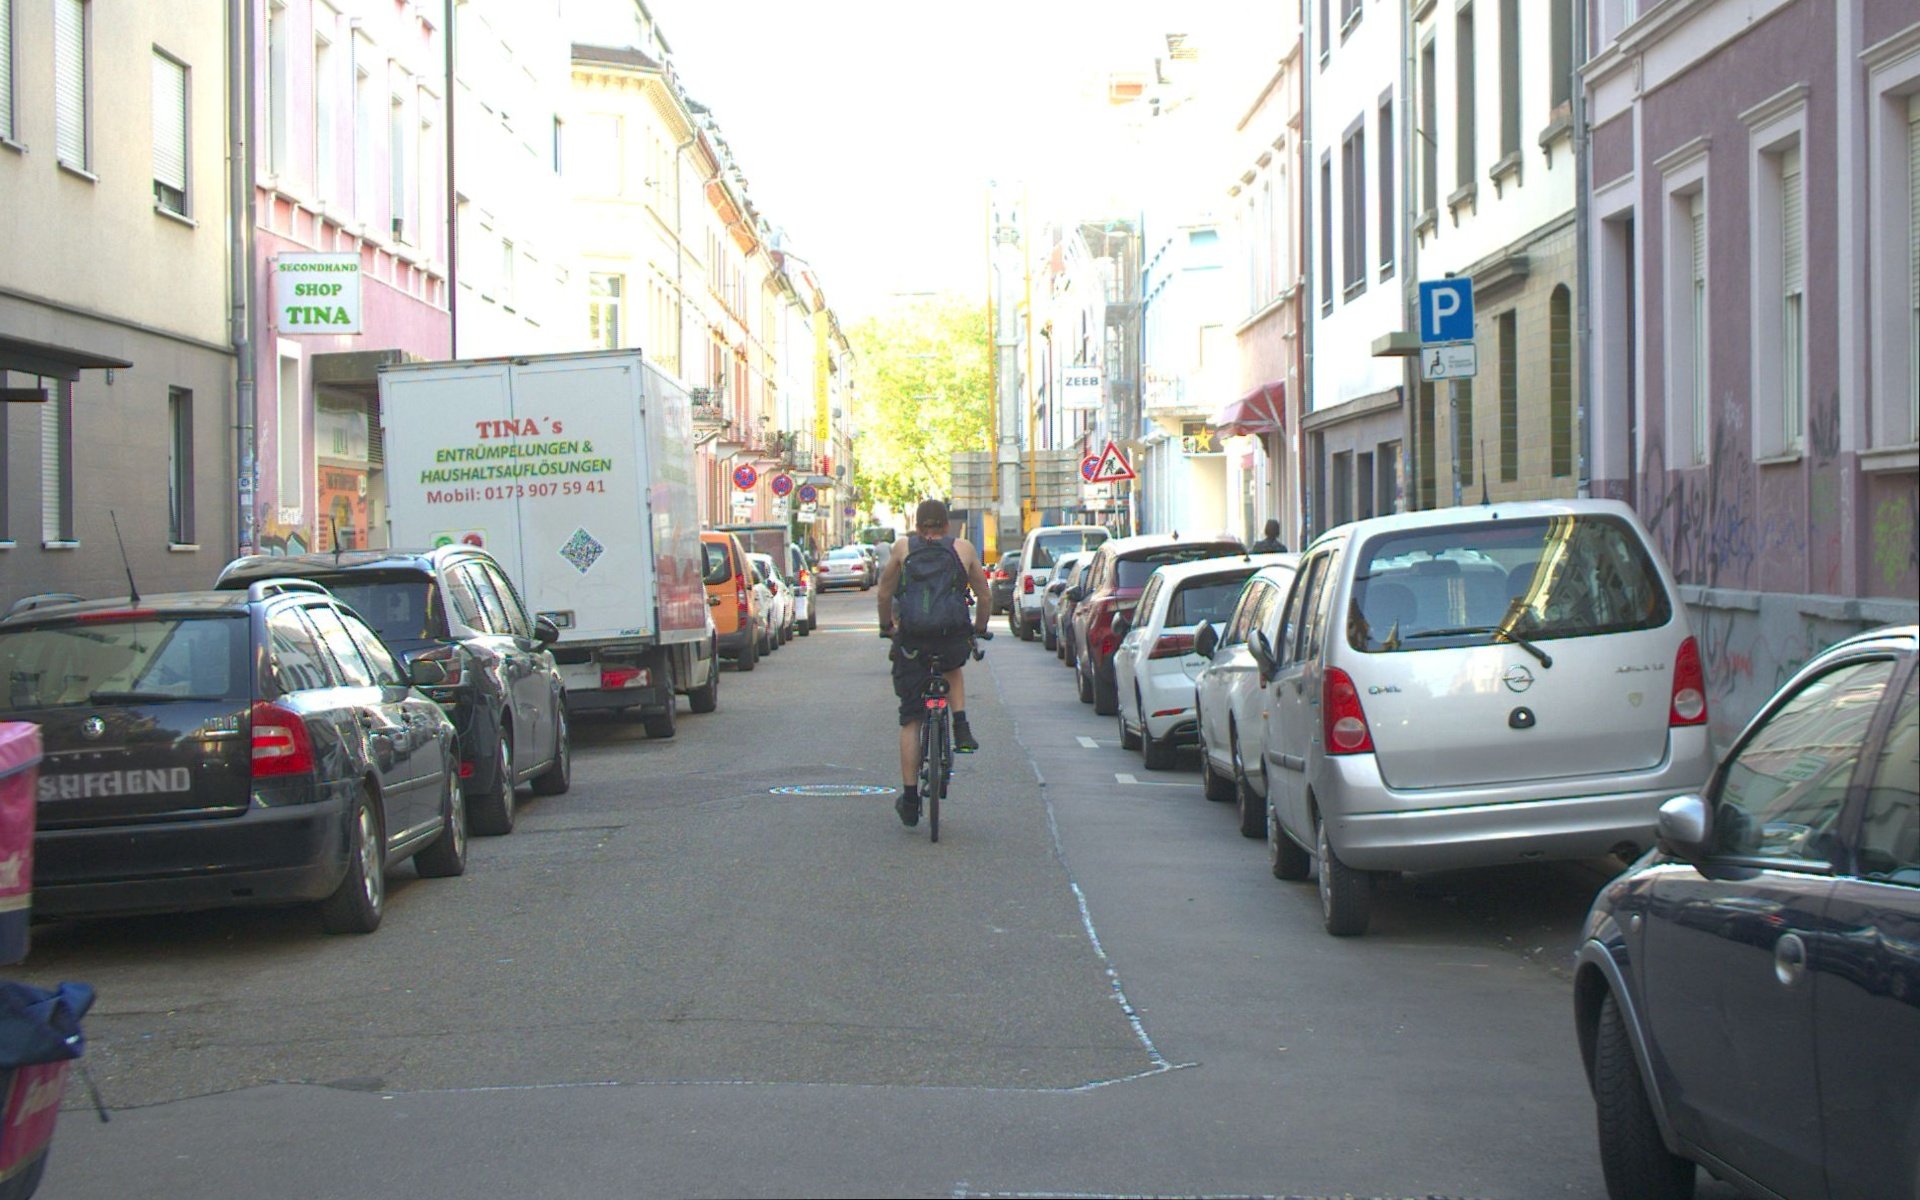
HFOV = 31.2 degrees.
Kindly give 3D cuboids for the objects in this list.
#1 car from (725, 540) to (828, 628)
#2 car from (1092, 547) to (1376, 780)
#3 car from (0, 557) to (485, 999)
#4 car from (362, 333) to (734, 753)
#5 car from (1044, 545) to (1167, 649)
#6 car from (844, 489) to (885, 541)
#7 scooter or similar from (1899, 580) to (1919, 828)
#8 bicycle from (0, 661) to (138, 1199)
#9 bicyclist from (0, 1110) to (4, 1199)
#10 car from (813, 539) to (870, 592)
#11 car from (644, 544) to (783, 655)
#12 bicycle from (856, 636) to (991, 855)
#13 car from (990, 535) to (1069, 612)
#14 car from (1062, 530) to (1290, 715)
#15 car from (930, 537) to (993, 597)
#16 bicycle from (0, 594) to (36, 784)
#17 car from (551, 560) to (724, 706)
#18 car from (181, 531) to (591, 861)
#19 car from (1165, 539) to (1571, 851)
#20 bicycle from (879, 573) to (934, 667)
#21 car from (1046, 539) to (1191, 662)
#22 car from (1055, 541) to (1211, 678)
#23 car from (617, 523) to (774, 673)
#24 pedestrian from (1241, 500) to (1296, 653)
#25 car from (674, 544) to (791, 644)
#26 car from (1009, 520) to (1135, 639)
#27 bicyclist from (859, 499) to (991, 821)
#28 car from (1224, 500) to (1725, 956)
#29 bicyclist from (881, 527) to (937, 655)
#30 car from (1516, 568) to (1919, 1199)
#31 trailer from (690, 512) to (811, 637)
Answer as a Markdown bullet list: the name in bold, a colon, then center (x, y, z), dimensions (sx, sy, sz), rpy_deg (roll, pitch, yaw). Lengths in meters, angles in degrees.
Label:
- **car**: center (-3.436, -0.311, 64.945), dimensions (1.750, 1.567, 3.796), rpy_deg (-1, 0, 0)
- **car**: center (1.966, 0.419, 25.697), dimensions (1.686, 1.538, 4.046), rpy_deg (-2, 0, -1)
- **car**: center (-3.227, 0.639, 14.845), dimensions (1.716, 1.473, 4.499), rpy_deg (-3, 2, -1)
- **car**: center (-3.547, -0.490, 31.221), dimensions (2.343, 3.280, 7.154), rpy_deg (-2, 0, 0)
- **car**: center (2.185, -0.058, 52.314), dimensions (1.750, 1.481, 3.799), rpy_deg (-1, 0, 1)
- **car**: center (-4.438, -3.955, 160.375), dimensions (1.750, 2.310, 3.796), rpy_deg (-1, 0, 0)
- **scooter or similar**: center (4.776, 0.488, 15.800), dimensions (0.450, 1.178, 1.369), rpy_deg (-4, 0, -1)
- **bicycle**: center (-2.235, 0.825, 6.018), dimensions (0.977, 1.310, 2.555), rpy_deg (-2, 1, -1)
- **bicyclist**: center (-2.232, 0.435, 5.747), dimensions (0.950, 1.622, 0.953), rpy_deg (-2, 1, 0)
- **car**: center (-3.915, -1.132, 113.884), dimensions (1.750, 1.678, 3.796), rpy_deg (-1, 0, 0)
- **car**: center (-3.612, -0.020, 50.953), dimensions (1.750, 1.532, 4.319), rpy_deg (-1, 0, 0)
- **bicycle**: center (-0.198, 0.749, 18.438), dimensions (0.677, 1.071, 1.942), rpy_deg (1, 0, -1)
- **car**: center (1.490, -0.578, 74.729), dimensions (1.611, 1.628, 3.610), rpy_deg (1, 0, 0)
- **car**: center (2.051, 0.168, 33.780), dimensions (1.918, 1.700, 4.366), rpy_deg (0, 1, -1)
- **car**: center (0.019, -0.876, 90.990), dimensions (1.611, 1.555, 3.610), rpy_deg (1, 0, 0)
- **bicycle**: center (-6.181, 0.567, 21.076), dimensions (0.490, 1.160, 1.773), rpy_deg (-2, 1, 1)
- **car**: center (-3.600, 0.340, 38.845), dimensions (1.578, 1.478, 3.565), rpy_deg (-3, 0, -1)
- **car**: center (-3.314, 0.473, 20.616), dimensions (1.716, 1.644, 4.246), rpy_deg (-3, 2, -1)
- **car**: center (2.244, 0.472, 20.039), dimensions (1.696, 1.538, 4.629), rpy_deg (-2, 0, -1)
- **bicycle**: center (-0.659, 0.229, 42.545), dimensions (0.648, 1.125, 2.136), rpy_deg (1, 0, -1)
- **car**: center (2.099, -0.013, 46.396), dimensions (1.646, 1.470, 3.971), rpy_deg (-4, 0, 0)
- **car**: center (2.063, 0.089, 41.865), dimensions (1.667, 1.500, 3.816), rpy_deg (-3, 0, 1)
- **car**: center (-3.448, -0.041, 45.435), dimensions (1.752, 1.810, 4.078), rpy_deg (-2, 0, -1)
- **pedestrian**: center (4.104, -0.314, 45.795), dimensions (0.644, 2.007, 0.764), rpy_deg (1, 0, 0)
- **car**: center (-3.670, -0.106, 55.964), dimensions (1.653, 1.532, 3.634), rpy_deg (-1, 0, 0)
- **car**: center (1.827, -0.345, 57.376), dimensions (1.750, 1.872, 3.973), rpy_deg (-1, 0, -3)
- **bicyclist**: center (-0.191, 0.307, 18.453), dimensions (0.667, 1.671, 1.097), rpy_deg (1, 0, -1)
- **car**: center (2.080, 0.467, 14.758), dimensions (1.556, 1.706, 3.559), rpy_deg (1, 0, -1)
- **bicyclist**: center (-0.632, -0.111, 42.528), dimensions (0.671, 1.562, 0.716), rpy_deg (1, 0, -1)
- **car**: center (2.231, 0.700, 6.619), dimensions (1.552, 1.506, 3.612), rpy_deg (1, 0, -3)
- **trailer**: center (-3.662, -0.457, 60.600), dimensions (1.882, 2.085, 3.737), rpy_deg (-1, 0, 0)
